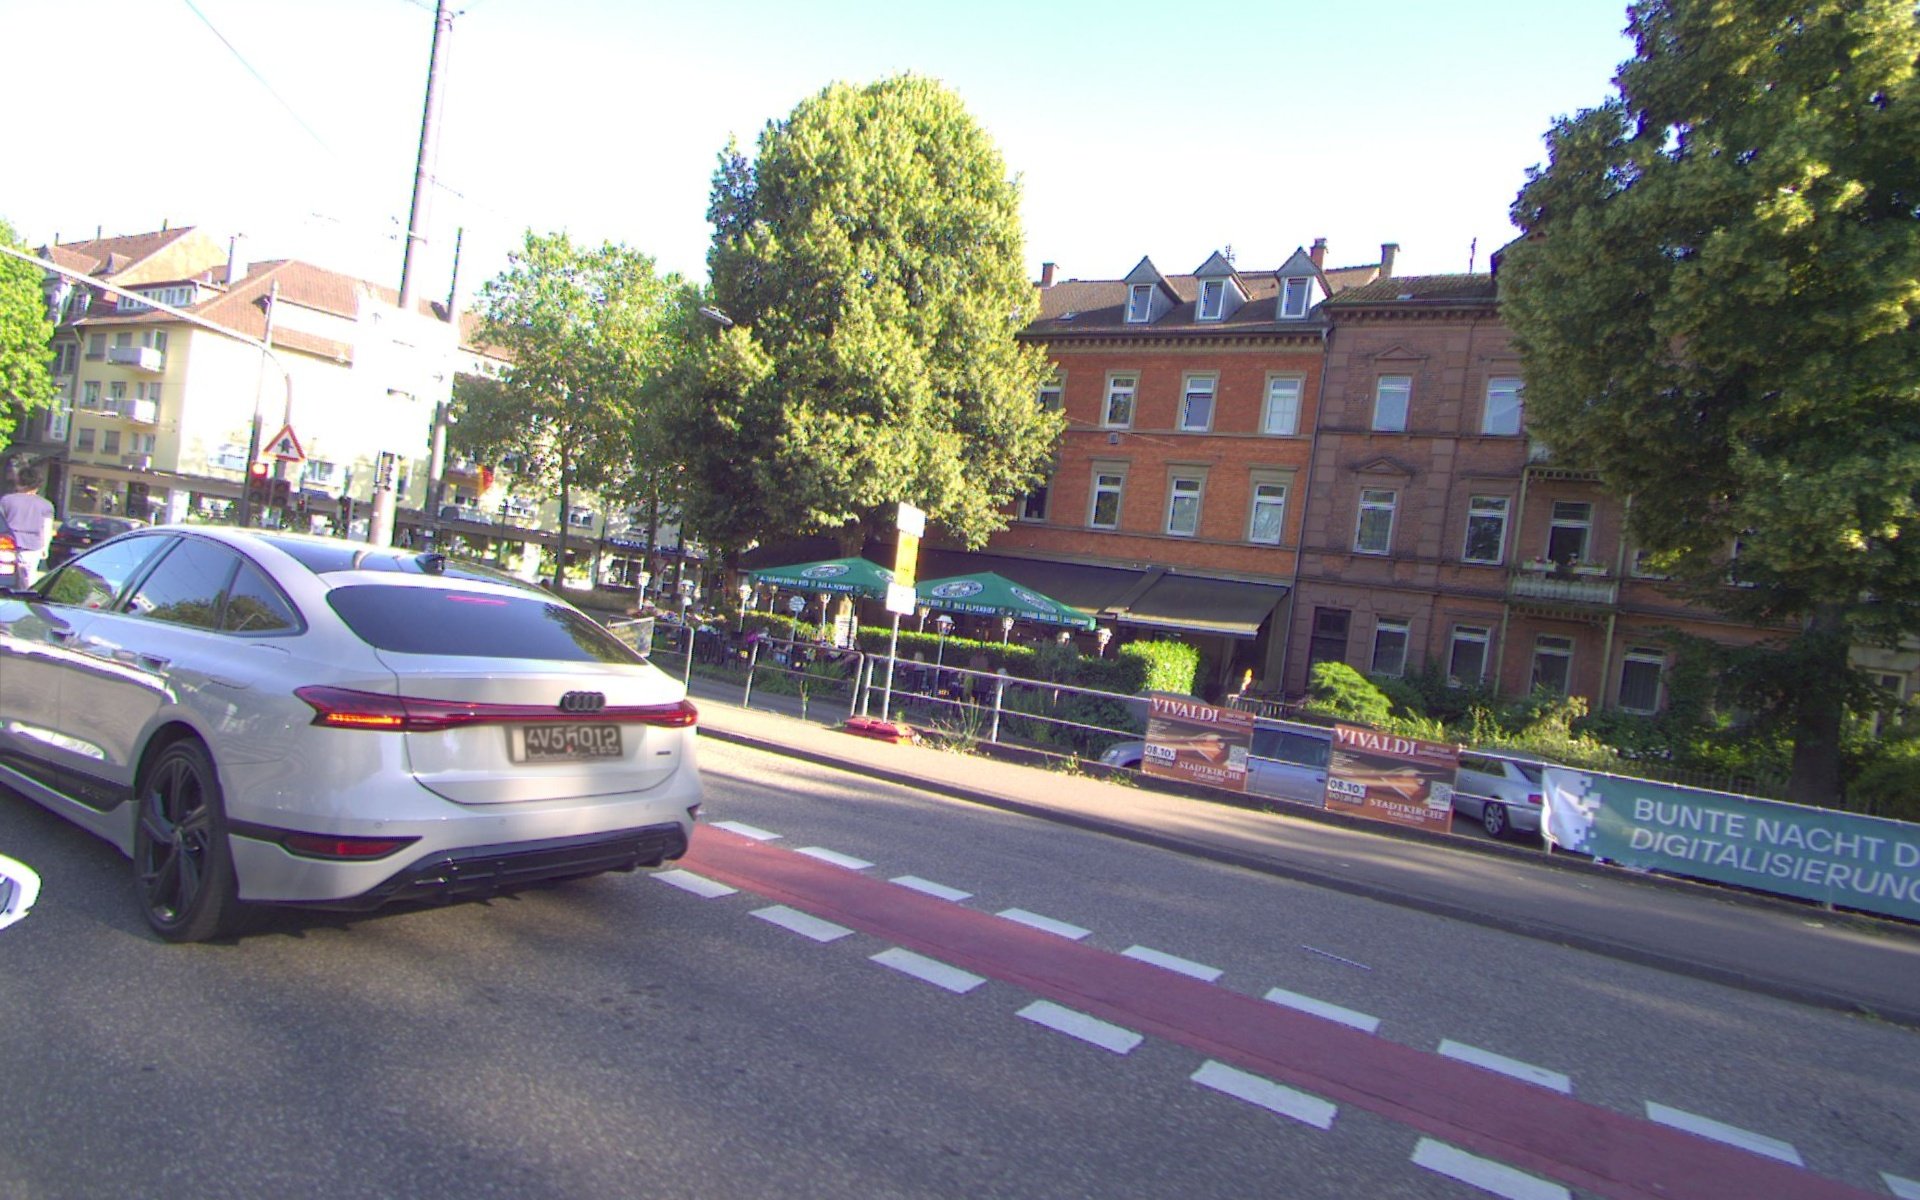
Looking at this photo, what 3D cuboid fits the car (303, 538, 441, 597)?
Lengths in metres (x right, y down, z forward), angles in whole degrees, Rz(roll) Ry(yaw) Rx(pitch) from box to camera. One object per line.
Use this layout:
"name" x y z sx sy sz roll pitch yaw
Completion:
"car" -21.272 -1.127 36.588 1.766 1.528 4.002 8 -1 19

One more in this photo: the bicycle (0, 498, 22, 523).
"bicycle" -49.247 -4.647 52.077 1.772 1.121 0.609 7 0 37

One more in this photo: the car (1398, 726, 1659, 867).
"car" 9.841 3.359 17.886 1.929 1.424 4.247 8 0 -3

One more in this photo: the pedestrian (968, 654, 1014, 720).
"pedestrian" 0.695 1.941 22.458 0.621 1.352 0.650 7 -3 32

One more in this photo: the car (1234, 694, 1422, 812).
"car" 7.185 2.954 20.136 1.769 1.498 3.994 7 0 -7

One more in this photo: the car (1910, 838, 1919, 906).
"car" 16.280 4.093 14.082 1.768 1.756 3.995 7 0 -5

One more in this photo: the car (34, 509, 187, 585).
"car" -20.970 -1.282 25.028 1.785 1.455 4.020 9 -1 -25

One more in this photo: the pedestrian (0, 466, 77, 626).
"pedestrian" -11.682 -0.674 12.564 0.666 1.893 0.658 7 0 31

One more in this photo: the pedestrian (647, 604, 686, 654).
"pedestrian" -8.626 0.855 29.581 0.621 1.352 0.650 7 -3 32

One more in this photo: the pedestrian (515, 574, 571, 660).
"pedestrian" -8.270 0.332 19.954 0.646 1.580 0.625 10 -3 -39

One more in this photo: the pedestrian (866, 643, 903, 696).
"pedestrian" -1.951 1.800 26.050 0.604 1.275 0.633 8 -2 14

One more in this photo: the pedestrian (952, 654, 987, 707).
"pedestrian" 0.257 2.089 26.087 0.604 1.275 0.633 8 -2 14

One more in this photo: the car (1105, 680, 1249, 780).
"car" 4.482 2.659 21.380 1.748 1.365 3.996 7 0 -5

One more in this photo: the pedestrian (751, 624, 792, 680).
"pedestrian" -5.002 1.389 26.745 0.621 1.352 0.650 7 -3 32

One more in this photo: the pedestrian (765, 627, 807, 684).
"pedestrian" -4.468 1.423 25.878 0.621 1.352 0.650 7 -3 32

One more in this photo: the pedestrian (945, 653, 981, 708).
"pedestrian" 0.087 2.036 25.414 0.604 1.275 0.633 8 -2 14

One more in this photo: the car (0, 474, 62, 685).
"car" -9.542 -0.415 8.442 3.978 1.657 1.803 7 -1 31

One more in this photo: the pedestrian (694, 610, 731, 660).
"pedestrian" -7.345 1.034 29.864 0.621 1.352 0.650 7 -3 32

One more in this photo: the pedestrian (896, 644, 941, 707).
"pedestrian" -0.982 1.780 23.725 0.621 1.352 0.650 7 -3 32

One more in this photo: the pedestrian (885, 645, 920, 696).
"pedestrian" -1.538 1.894 26.934 0.604 1.275 0.633 8 -2 14

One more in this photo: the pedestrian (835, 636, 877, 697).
"pedestrian" -2.545 1.612 24.493 0.643 1.352 0.628 10 -3 -28

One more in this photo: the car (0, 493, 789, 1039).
"car" -3.384 0.415 5.081 4.774 1.490 1.932 7 -1 32

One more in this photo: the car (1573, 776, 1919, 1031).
"car" 8.944 3.132 10.367 4.136 1.823 1.800 6 -2 25

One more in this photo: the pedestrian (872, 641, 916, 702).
"pedestrian" -1.597 1.725 24.280 0.621 1.352 0.650 7 -3 32

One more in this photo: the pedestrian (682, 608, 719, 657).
"pedestrian" -7.907 0.997 30.667 0.621 1.352 0.650 7 -3 32

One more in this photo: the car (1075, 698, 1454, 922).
"car" 3.924 2.552 13.142 4.285 1.920 1.799 6 -2 30
